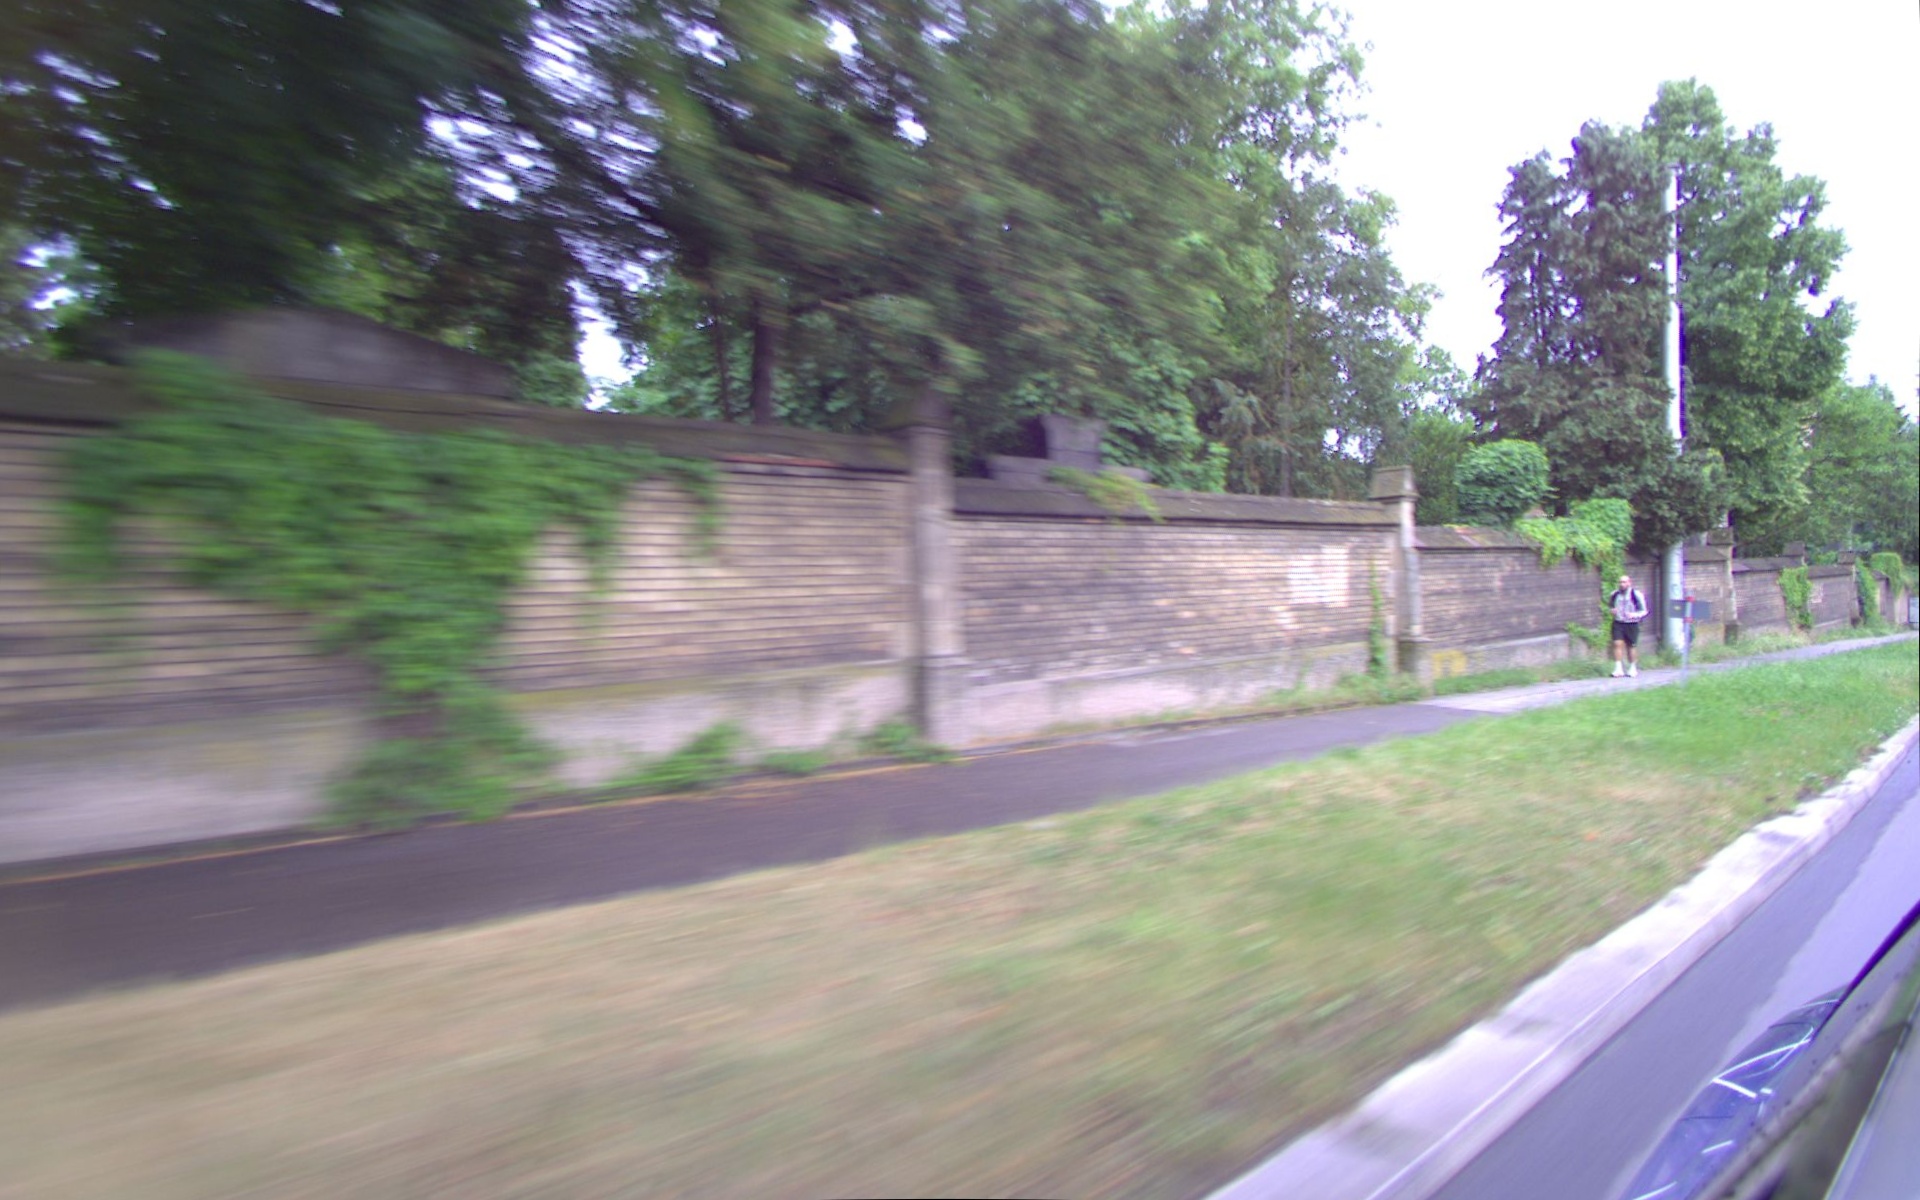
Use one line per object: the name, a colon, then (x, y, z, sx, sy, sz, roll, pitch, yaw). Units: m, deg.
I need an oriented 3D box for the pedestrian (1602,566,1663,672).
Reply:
pedestrian: (11.754, 0.320, 17.686, 0.886, 1.802, 0.709, 0, -1, -43)
